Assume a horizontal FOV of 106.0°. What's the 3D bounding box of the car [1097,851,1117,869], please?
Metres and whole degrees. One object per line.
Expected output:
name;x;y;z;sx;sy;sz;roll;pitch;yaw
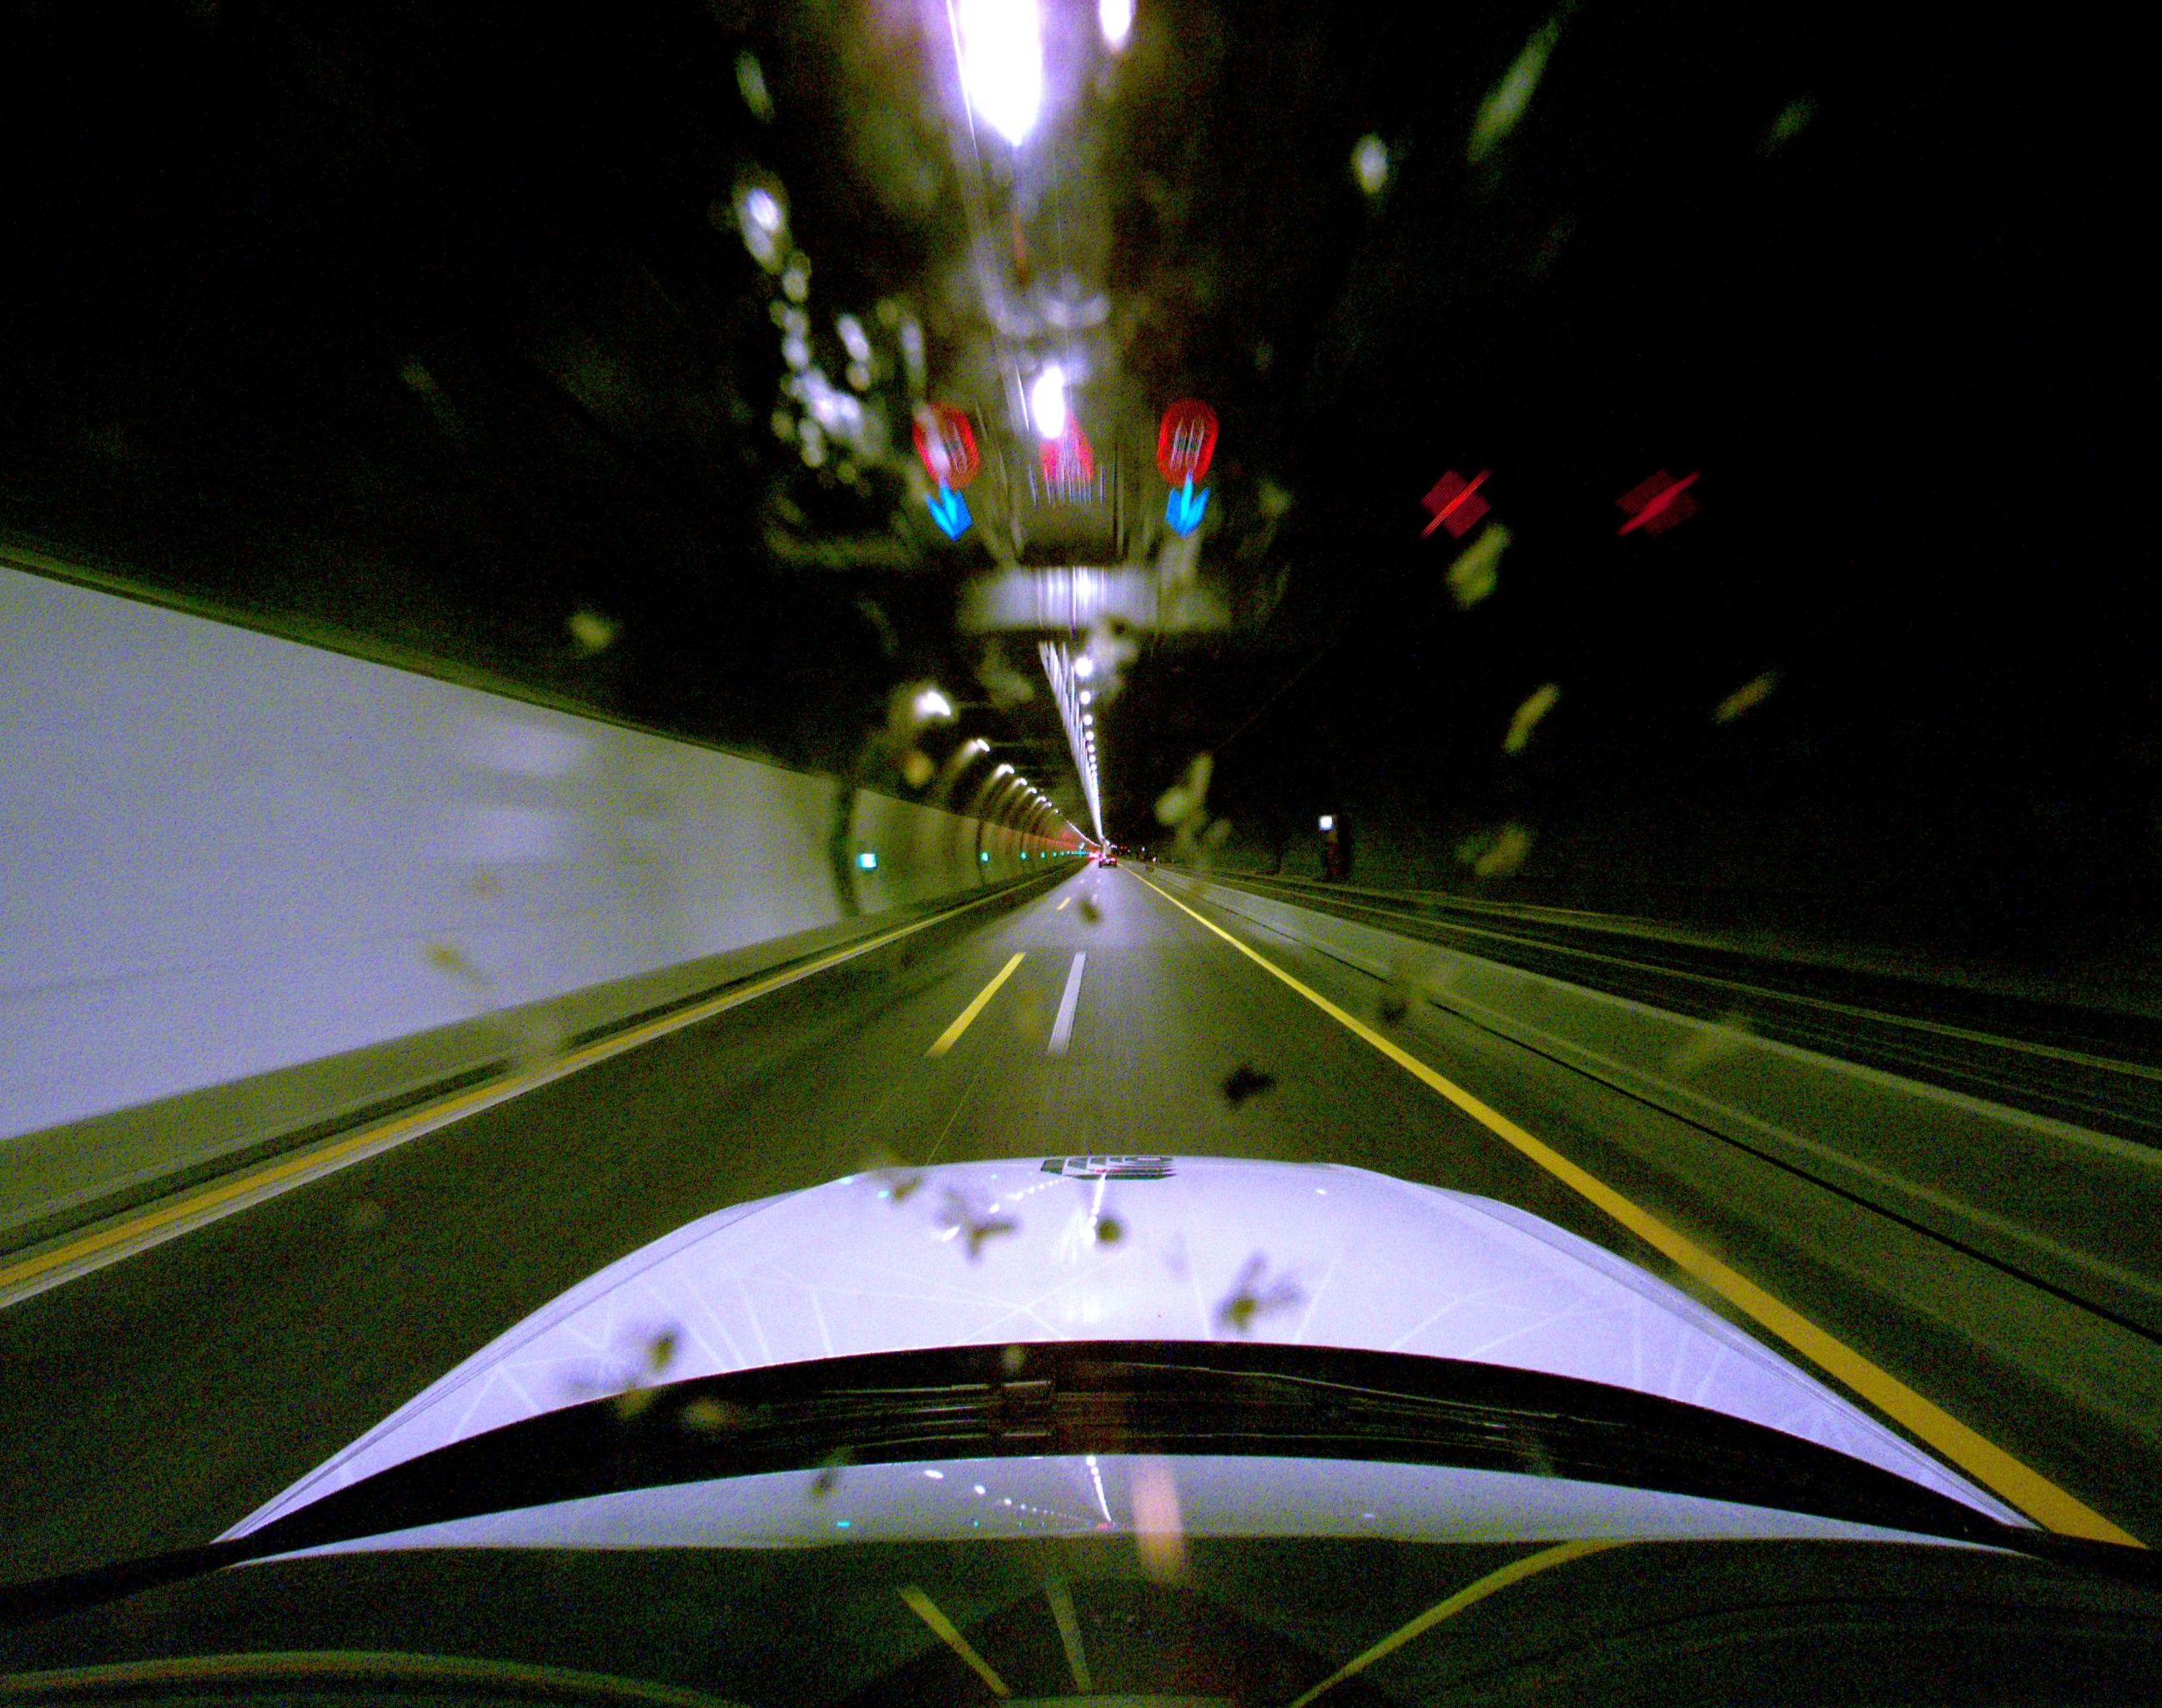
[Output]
car;2.759;0.637;86.450;1.941;1.794;3.998;-1;0;-1

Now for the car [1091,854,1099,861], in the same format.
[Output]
car;3.324;0.819;196.655;1.924;1.687;4.000;-1;0;0

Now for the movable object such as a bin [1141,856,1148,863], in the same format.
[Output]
movable object such as a bin;13.702;1.114;175.489;1.230;1.442;2.217;1;0;1
